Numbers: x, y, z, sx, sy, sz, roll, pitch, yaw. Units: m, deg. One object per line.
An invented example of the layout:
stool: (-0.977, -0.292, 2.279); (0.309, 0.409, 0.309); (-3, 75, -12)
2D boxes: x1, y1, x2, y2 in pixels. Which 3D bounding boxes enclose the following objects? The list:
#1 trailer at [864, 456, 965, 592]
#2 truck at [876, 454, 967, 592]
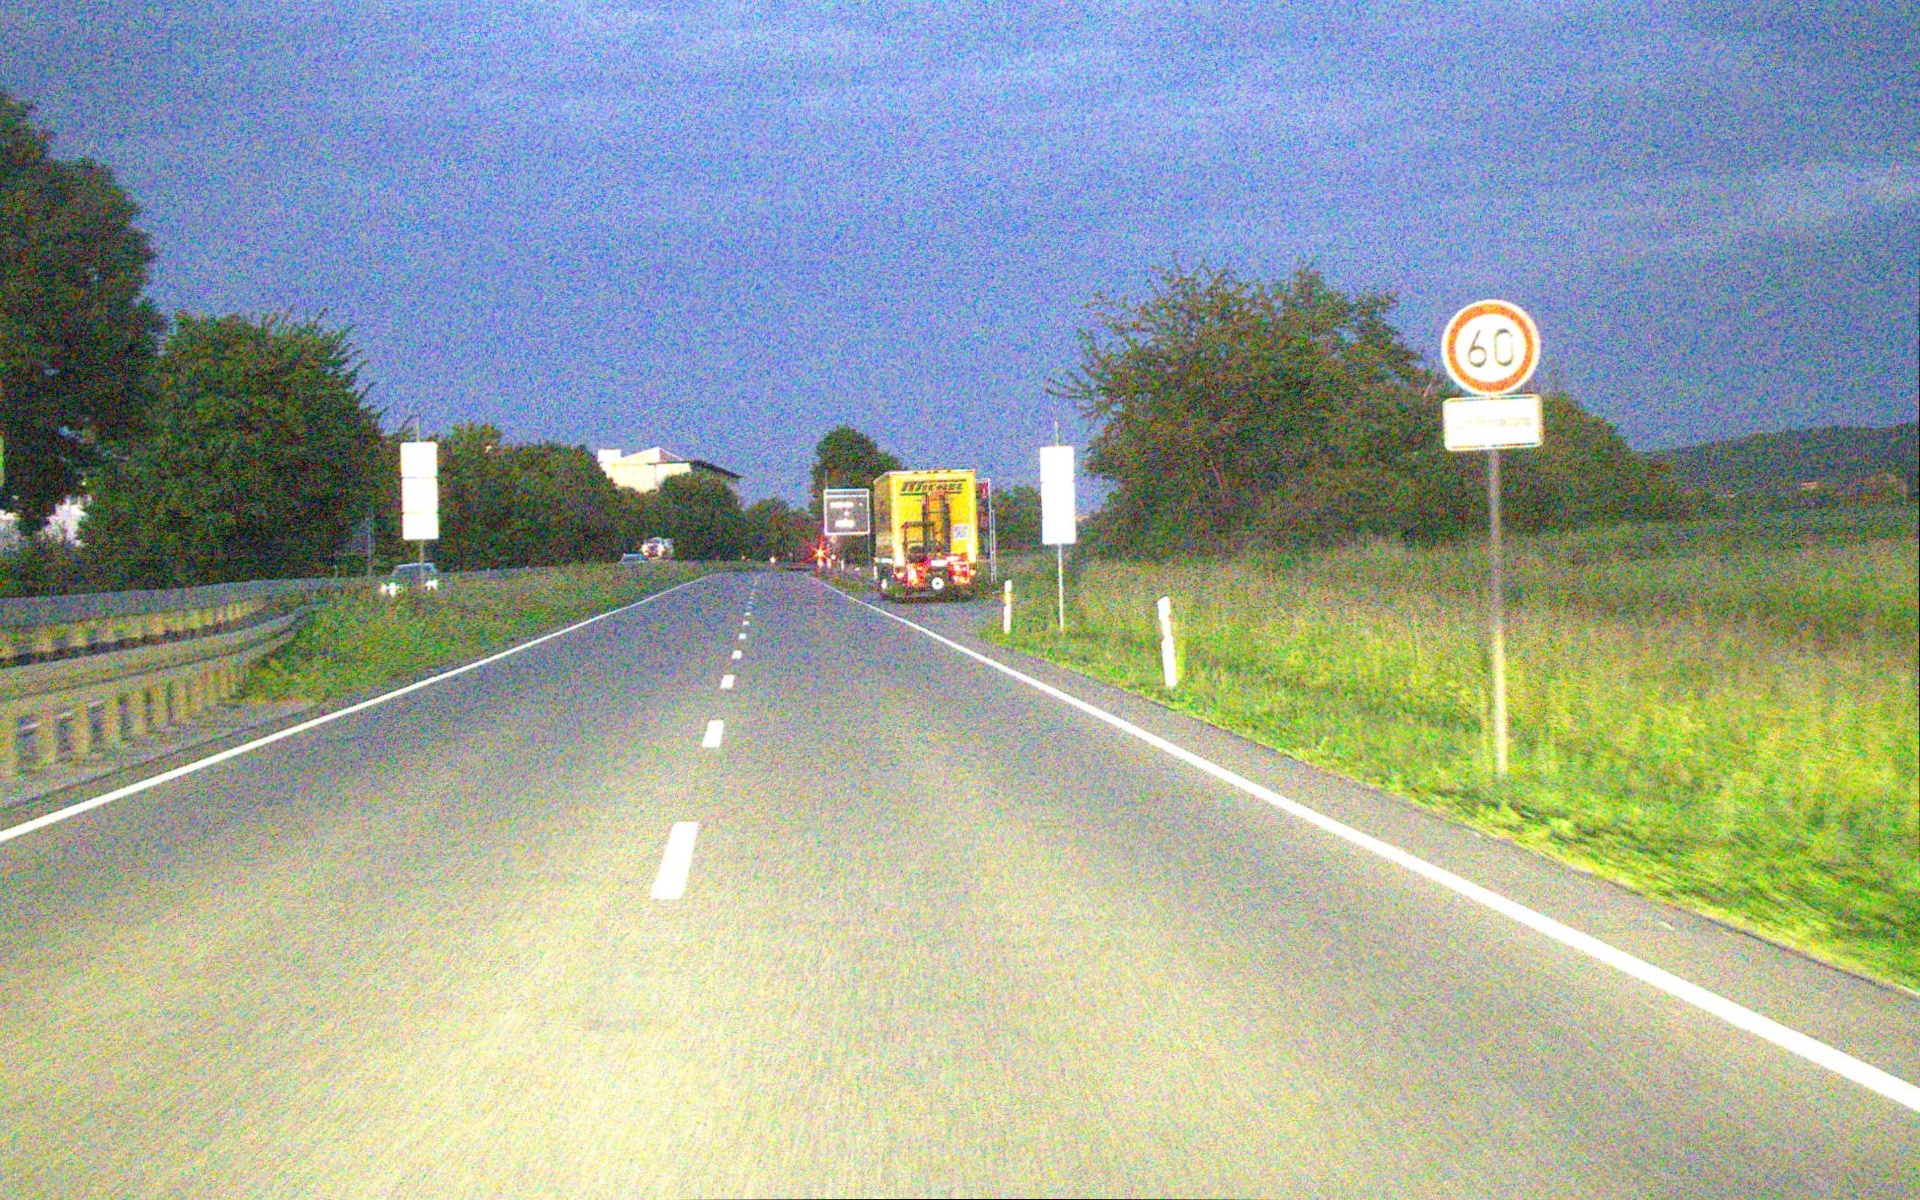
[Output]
trailer: (-1.556, -2.412, 111.198); (2.622, 4.090, 12.939); (-1, 1, -3)
truck: (-1.216, -2.345, 104.426); (2.579, 4.057, 6.130); (0, 1, -2)
